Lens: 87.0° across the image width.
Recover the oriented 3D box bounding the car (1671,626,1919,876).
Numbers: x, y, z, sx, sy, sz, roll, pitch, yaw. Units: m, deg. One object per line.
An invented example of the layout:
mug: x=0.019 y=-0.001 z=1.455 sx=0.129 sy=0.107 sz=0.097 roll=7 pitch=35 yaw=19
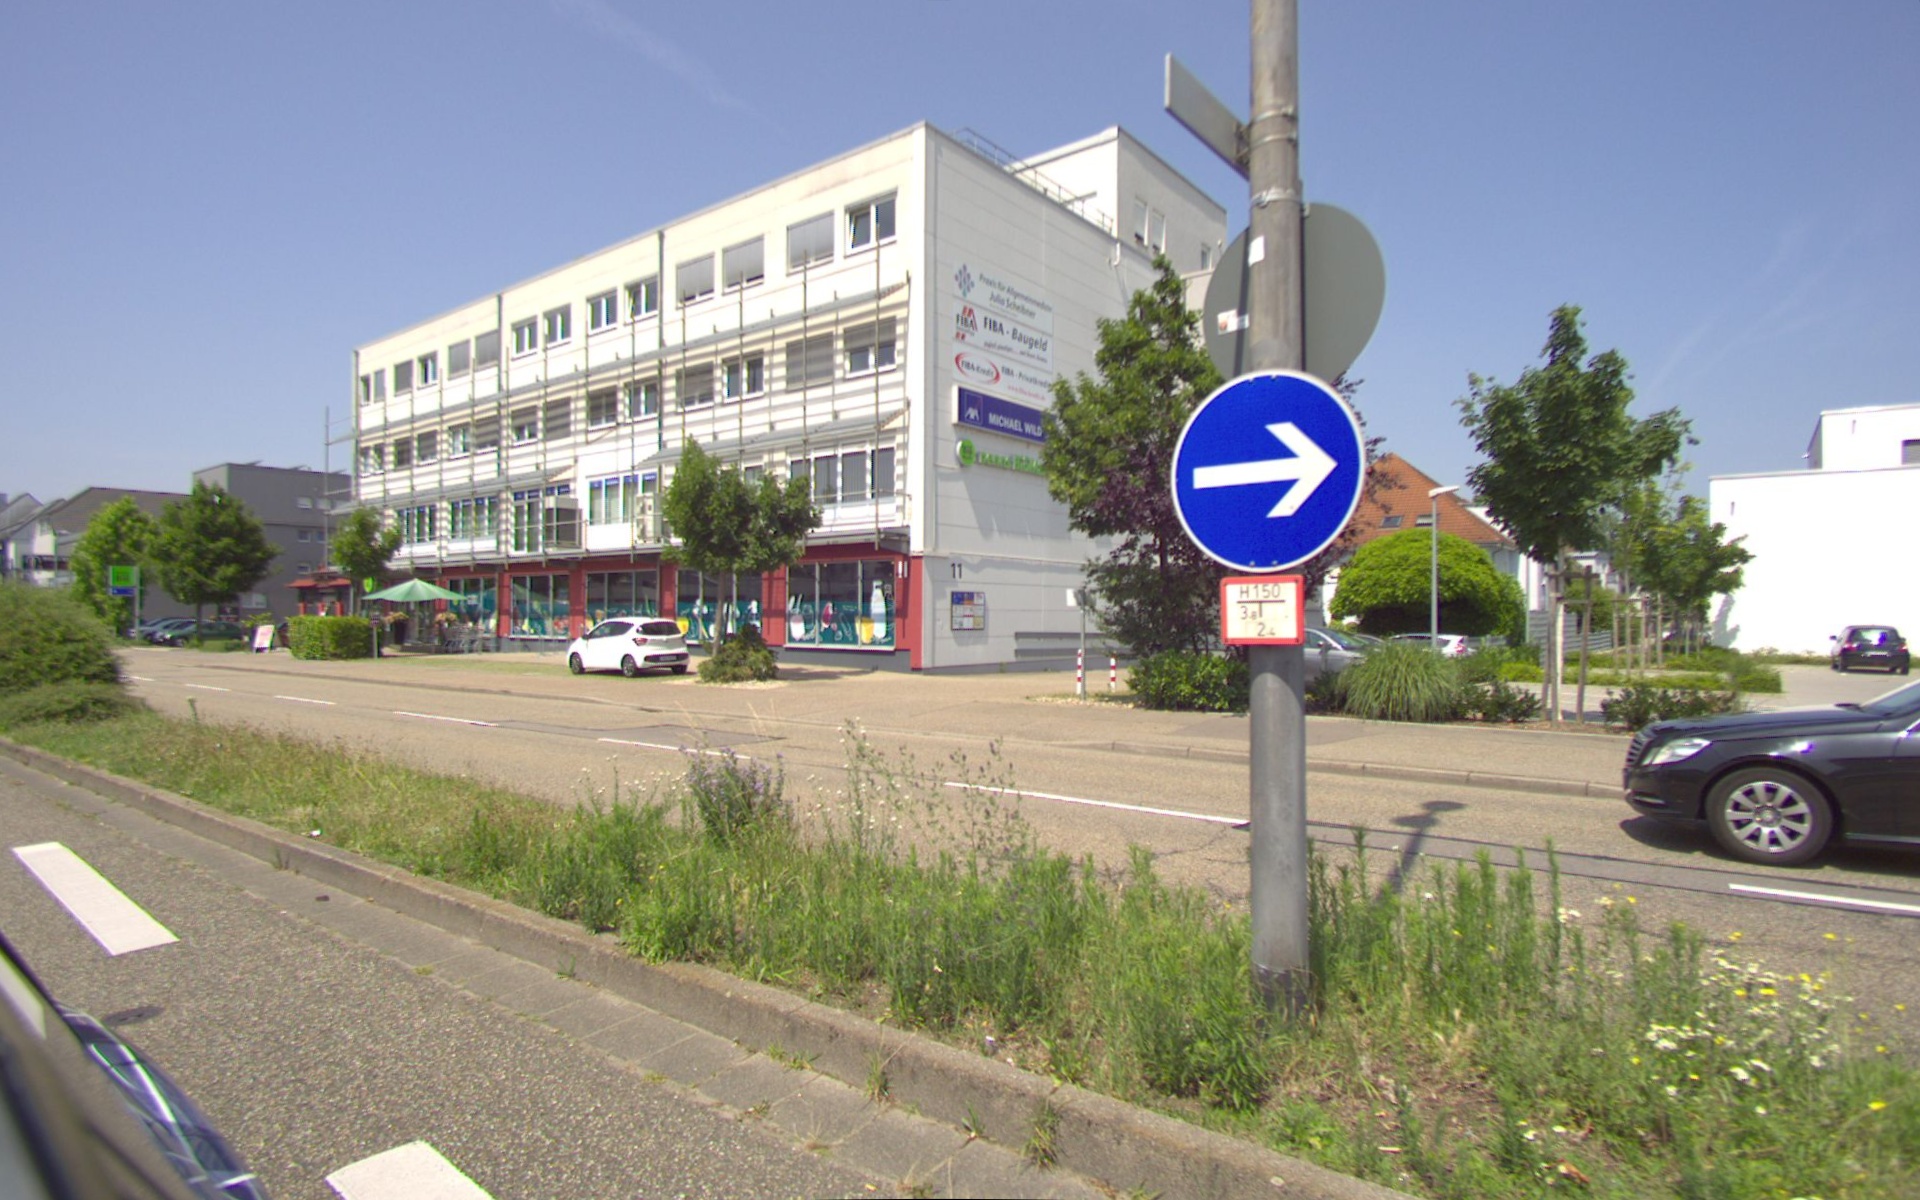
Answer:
car: x=7.127 y=0.892 z=5.993 sx=4.704 sy=1.472 sz=1.811 roll=-1 pitch=-2 yaw=37

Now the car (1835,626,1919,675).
car: x=29.116 y=1.552 z=31.998 sx=1.876 sy=1.464 sz=3.950 roll=-1 pitch=-2 yaw=37

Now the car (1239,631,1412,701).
car: x=8.661 y=1.505 z=24.115 sx=3.554 sy=1.530 sz=1.537 roll=-1 pitch=-2 yaw=41

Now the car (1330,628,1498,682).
car: x=12.445 y=1.458 z=27.824 sx=3.831 sy=1.394 sz=1.900 roll=-2 pitch=-2 yaw=41

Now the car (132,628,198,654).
car: x=-45.168 y=2.326 z=57.510 sx=1.444 sy=1.423 sz=2.703 roll=-1 pitch=-2 yaw=38

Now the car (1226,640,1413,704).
car: x=7.822 y=1.517 z=22.168 sx=3.554 sy=1.241 sz=1.537 roll=-1 pitch=-2 yaw=41

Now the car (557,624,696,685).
car: x=-8.772 y=1.375 z=26.524 sx=3.659 sy=1.460 sz=1.675 roll=-1 pitch=-1 yaw=37
